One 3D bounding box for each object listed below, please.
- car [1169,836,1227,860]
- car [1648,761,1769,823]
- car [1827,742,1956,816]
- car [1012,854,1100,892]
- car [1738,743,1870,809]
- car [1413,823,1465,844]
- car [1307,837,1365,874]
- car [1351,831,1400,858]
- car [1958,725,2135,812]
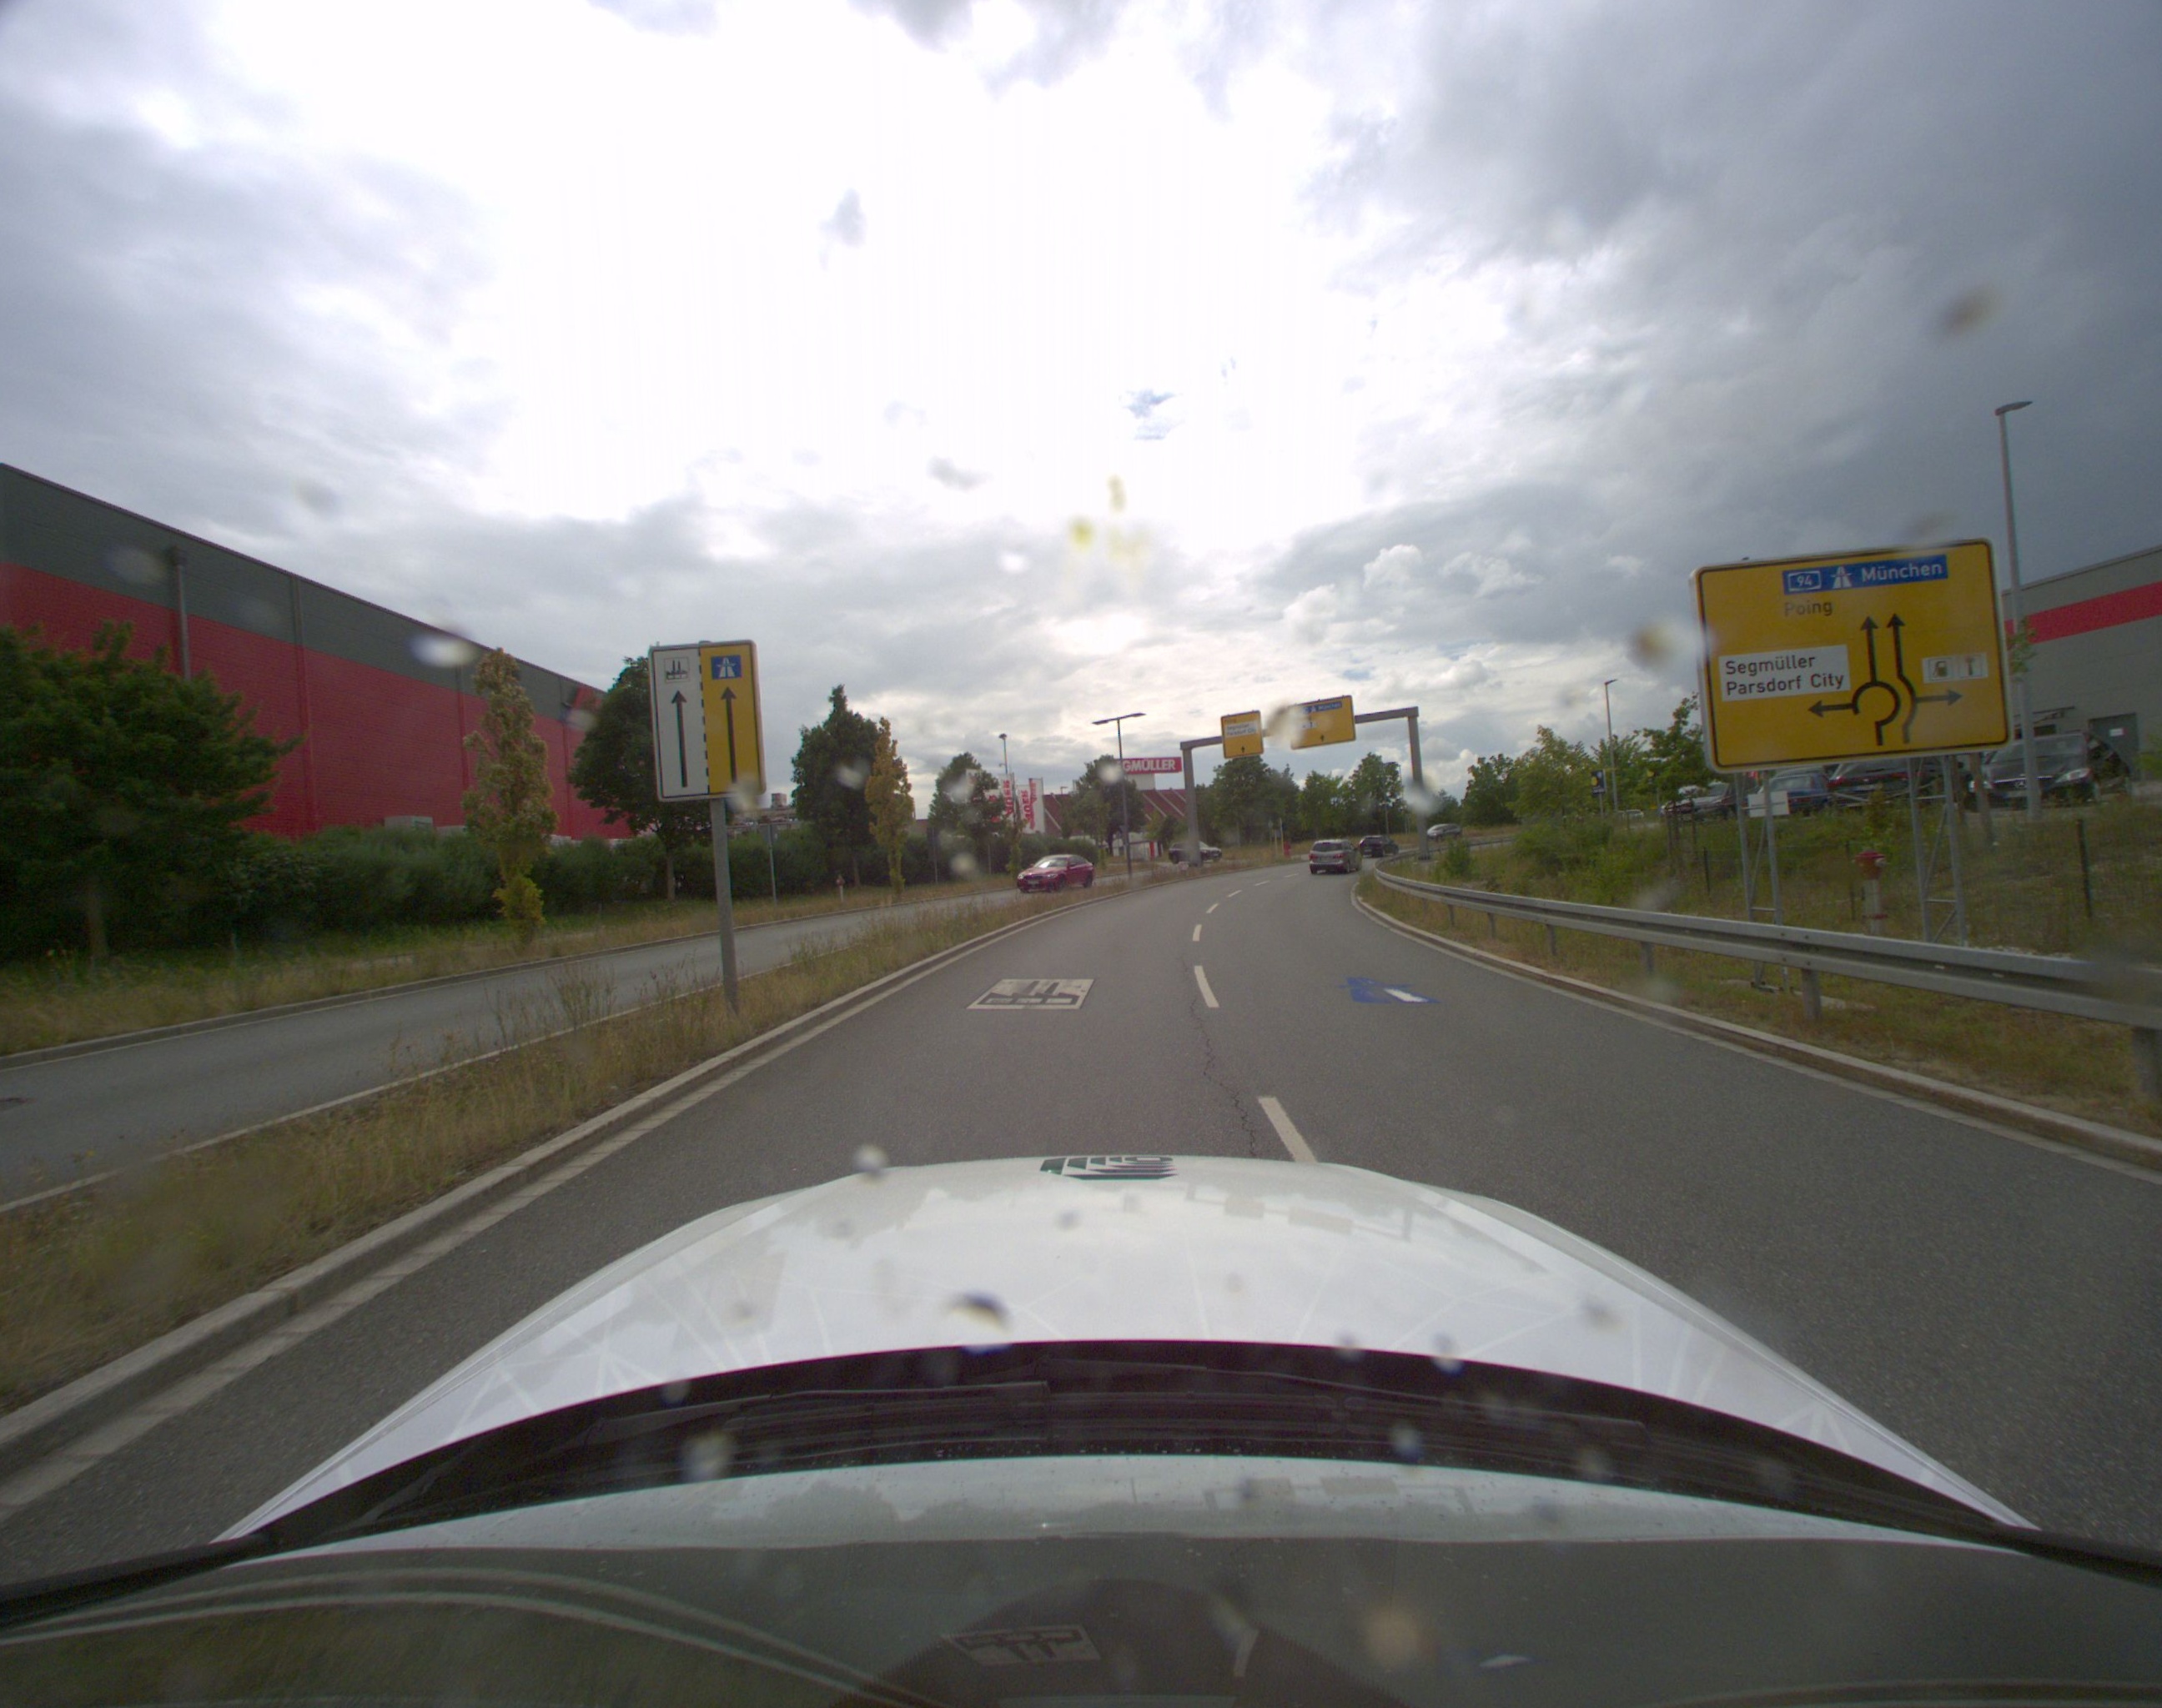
[{"bbox_3d":[8.741,-0.411,60.957,1.881,1.549,4.210,-4,0,-34],"label":"car"},{"bbox_3d":[20.226,-1.932,26.217,4.185,1.782,1.786,-2,0,-33],"label":"car"},{"bbox_3d":[20.463,-1.820,20.535,3.748,1.653,1.503,-2,0,-32],"label":"car"},{"bbox_3d":[-0.962,0.754,34.673,1.775,1.447,4.999,-1,0,23],"label":"car"},{"bbox_3d":[20.881,-2.171,23.483,3.870,1.653,1.716,-2,0,-30],"label":"car"},{"bbox_3d":[32.800,-1.869,74.556,4.699,1.629,1.798,-3,-1,-29],"label":"car"},{"bbox_3d":[12.285,0.028,39.125,1.750,1.616,3.946,-4,-1,30],"label":"car"},{"bbox_3d":[19.741,-0.666,54.470,1.851,1.605,3.758,-4,-1,39],"label":"car"},{"bbox_3d":[21.091,-1.877,17.771,3.805,1.518,1.677,-6,1,-28],"label":"car"}]
